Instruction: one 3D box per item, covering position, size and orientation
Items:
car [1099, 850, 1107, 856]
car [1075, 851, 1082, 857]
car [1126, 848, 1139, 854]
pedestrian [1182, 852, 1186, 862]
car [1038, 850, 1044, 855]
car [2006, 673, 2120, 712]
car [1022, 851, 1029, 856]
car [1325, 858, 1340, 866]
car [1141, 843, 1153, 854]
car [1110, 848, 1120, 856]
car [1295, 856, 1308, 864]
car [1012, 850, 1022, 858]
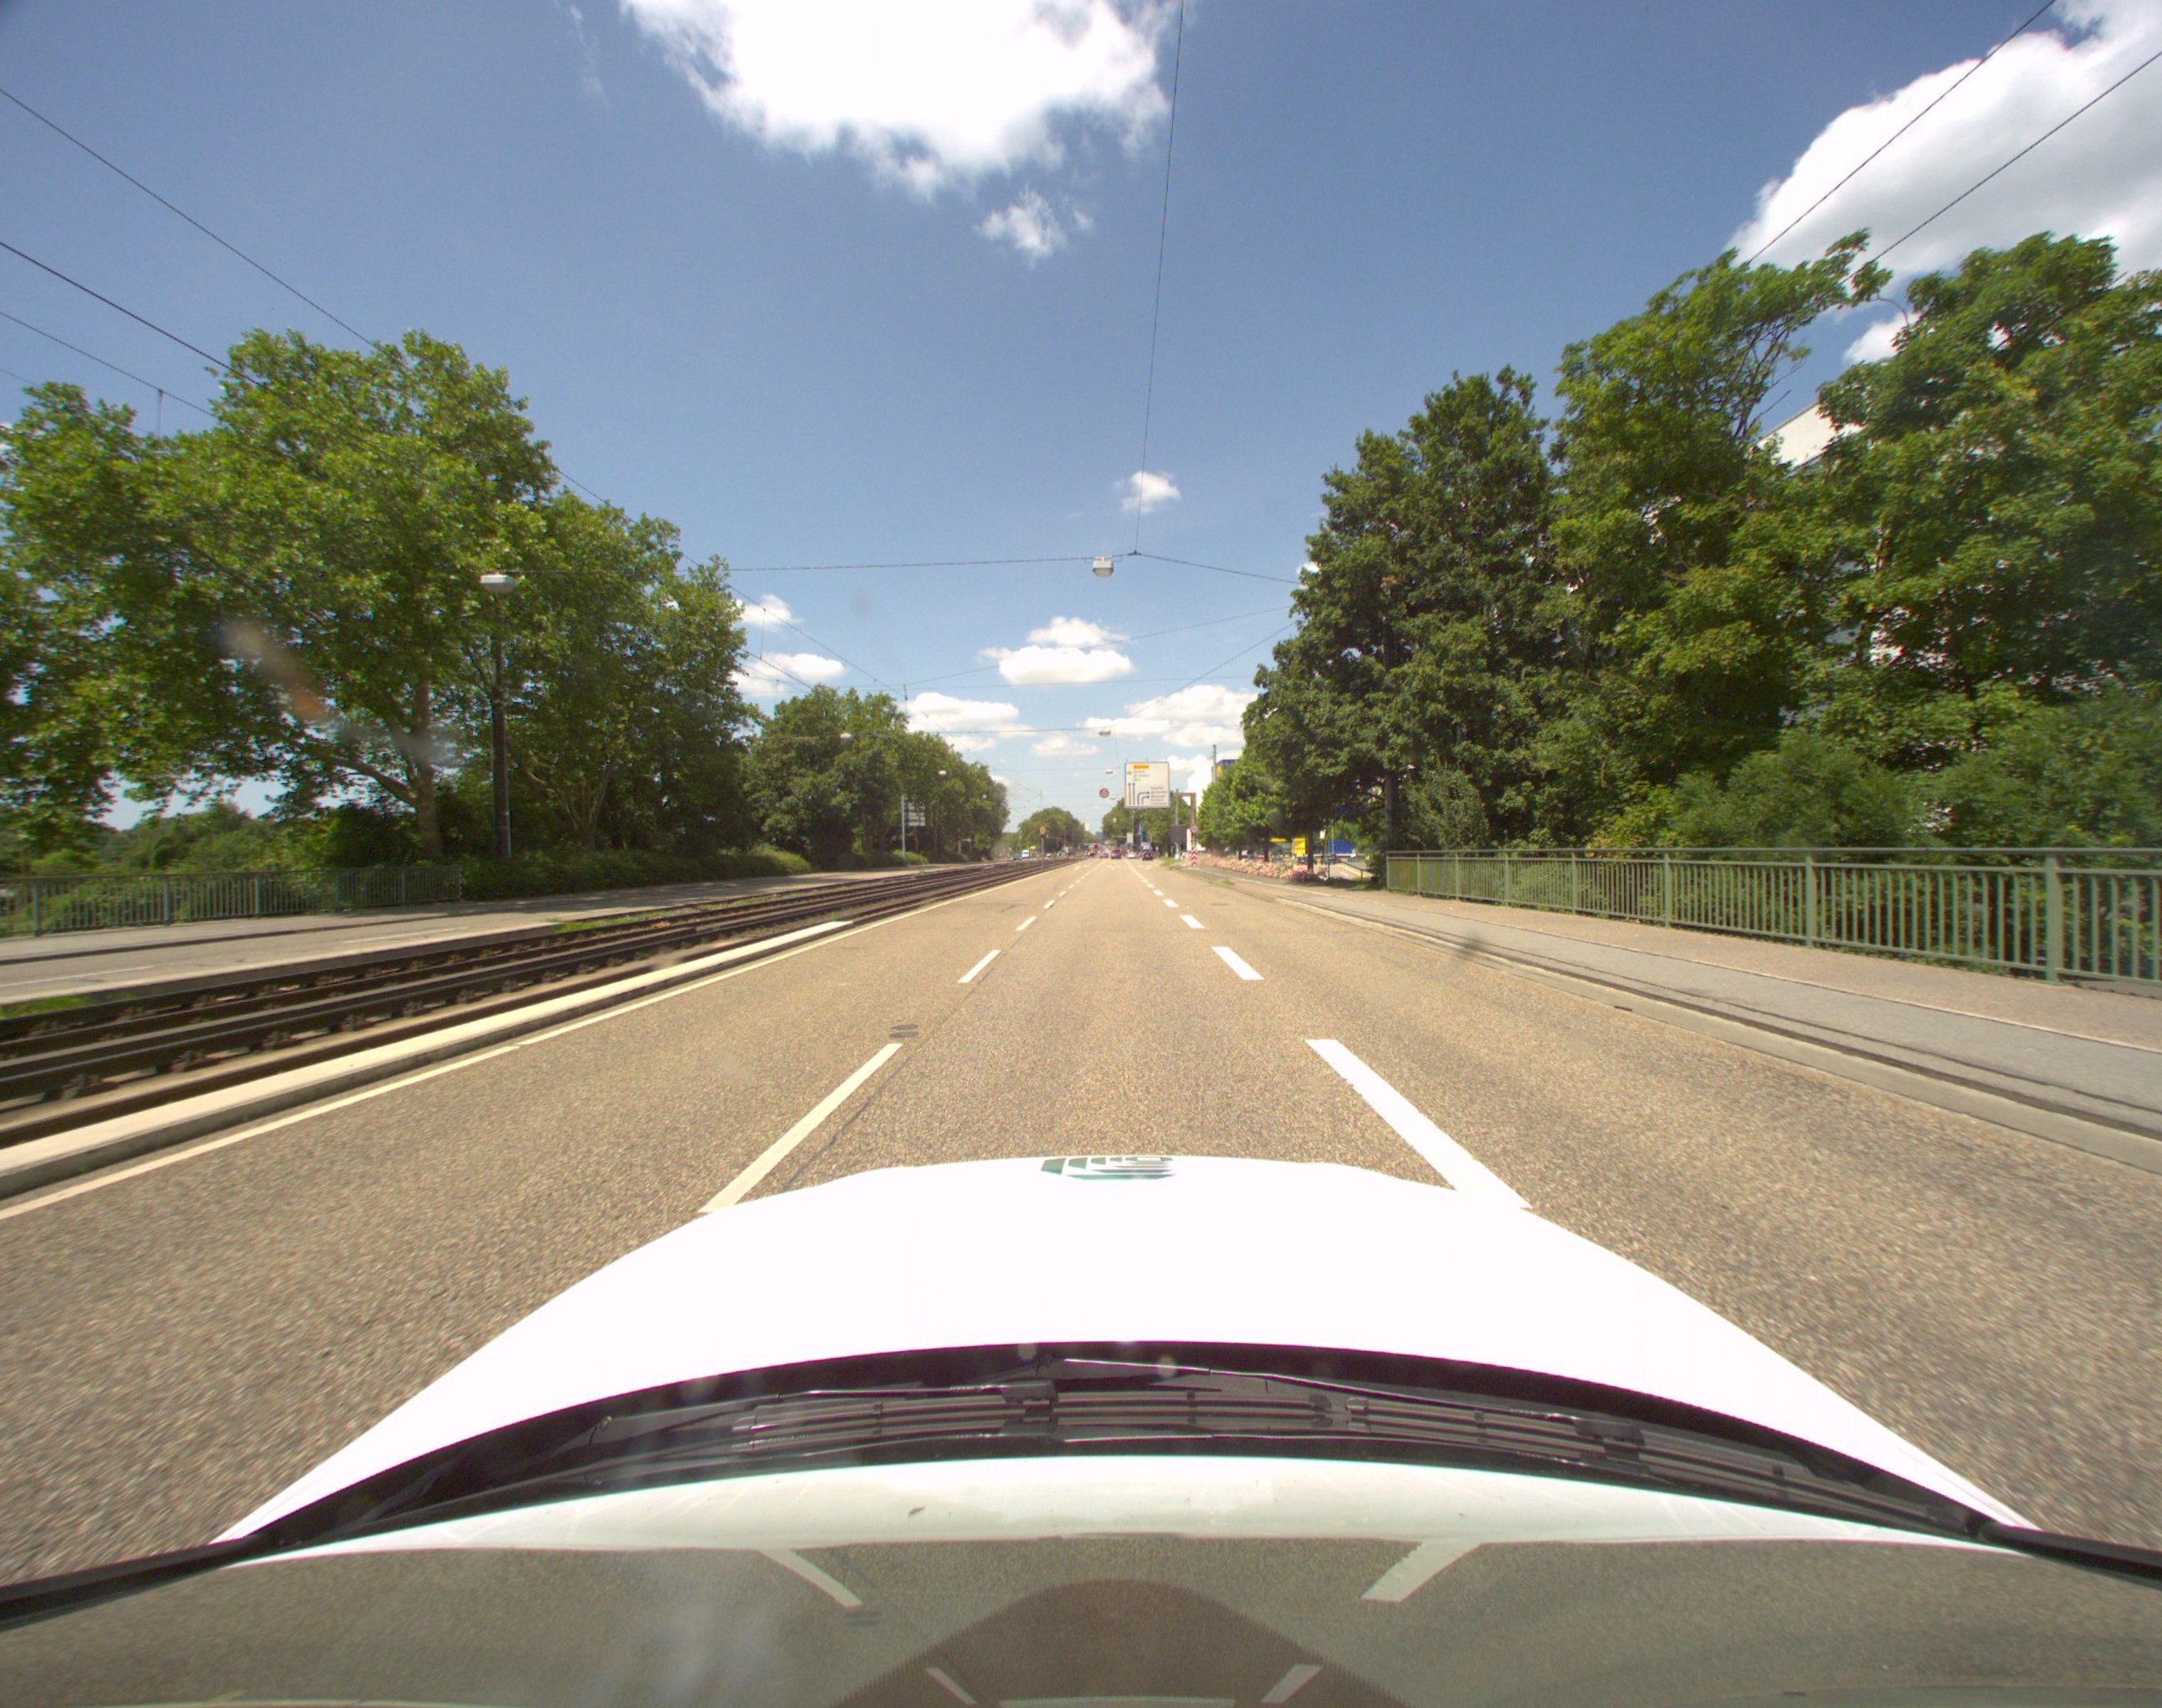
[{"bbox_3d":[5.272,-0.236,193.300,1.836,1.549,3.776,1,0,0],"label":"car"},{"bbox_3d":[-0.675,0.028,211.123,1.836,1.549,3.777,1,0,1],"label":"car"},{"bbox_3d":[12.194,-0.693,191.948,1.670,1.549,4.006,1,0,25],"label":"car"},{"bbox_3d":[18.819,0.540,149.027,0.578,1.792,0.590,1,0,0],"label":"pedestrian"},{"bbox_3d":[-12.588,-0.451,255.691,1.617,1.550,3.705,1,0,2],"label":"car"},{"bbox_3d":[45.908,-7.529,38.121,3.350,1.517,1.546,0,0,3],"label":"car"},{"bbox_3d":[-16.625,-0.191,244.796,1.617,1.550,3.705,1,0,2],"label":"car"},{"bbox_3d":[48.027,1.487,155.490,1.565,1.483,3.889,1,0,1],"label":"car"},{"bbox_3d":[11.239,-0.921,138.402,1.892,1.805,3.978,1,0,2],"label":"car"},{"bbox_3d":[6.705,-0.444,160.334,1.869,1.539,3.778,1,0,1],"label":"car"},{"bbox_3d":[43.027,1.127,159.158,1.565,1.483,3.889,1,0,1],"label":"car"},{"bbox_3d":[-13.261,-0.062,169.482,1.639,1.550,4.216,1,0,0],"label":"car"}]
